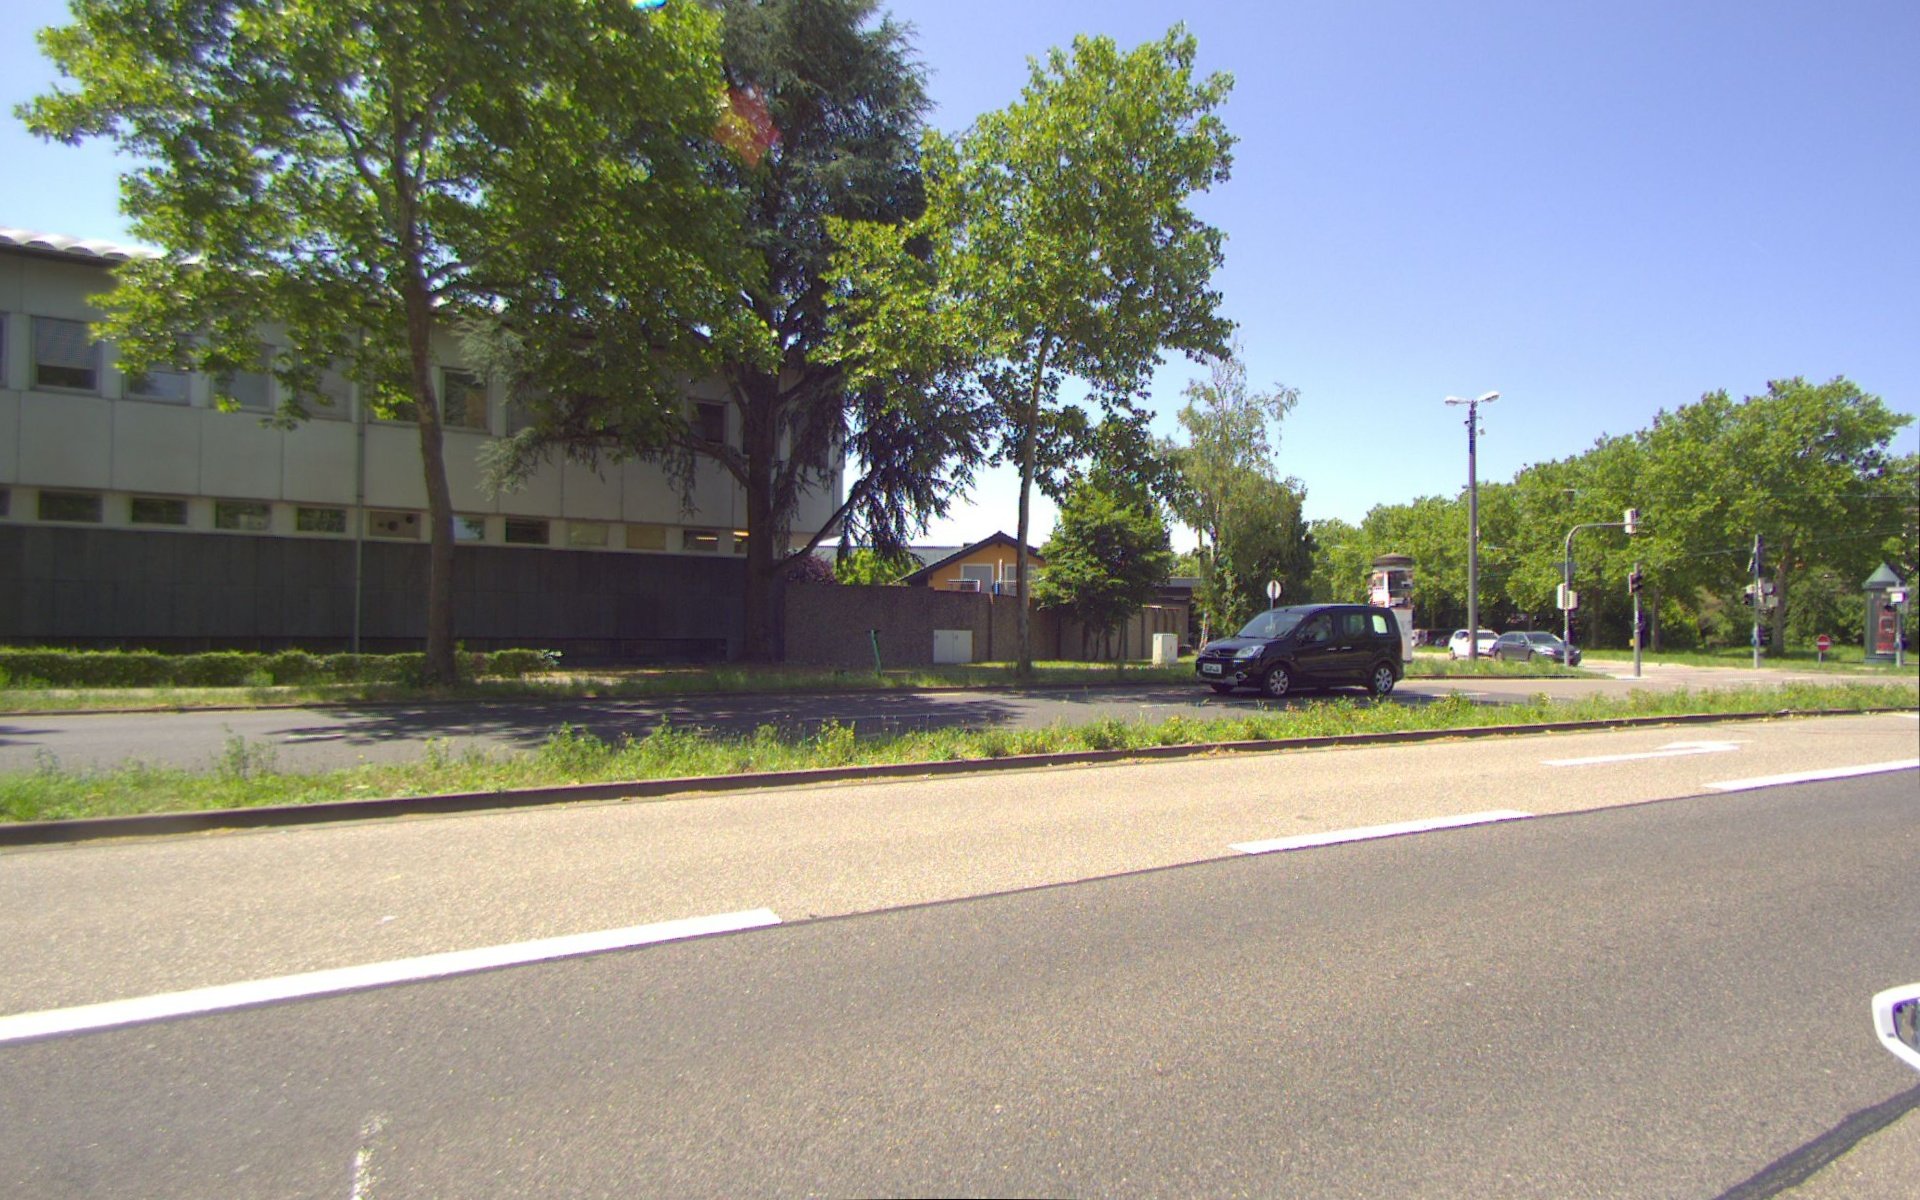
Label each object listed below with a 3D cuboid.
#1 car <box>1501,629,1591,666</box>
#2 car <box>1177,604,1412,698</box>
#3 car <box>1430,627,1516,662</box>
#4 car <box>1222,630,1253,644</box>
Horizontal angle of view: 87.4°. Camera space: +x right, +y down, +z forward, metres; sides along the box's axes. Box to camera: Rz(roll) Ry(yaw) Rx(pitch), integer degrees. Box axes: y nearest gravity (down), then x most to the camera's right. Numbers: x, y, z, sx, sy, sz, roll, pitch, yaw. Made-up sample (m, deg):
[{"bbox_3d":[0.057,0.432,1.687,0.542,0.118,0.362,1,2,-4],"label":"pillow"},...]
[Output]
[{"bbox_3d":[25.378,2.022,43.639,1.729,1.476,3.994,0,-1,2],"label":"car"},{"bbox_3d":[6.668,0.965,19.995,4.385,1.701,1.905,1,-1,-26],"label":"car"},{"bbox_3d":[25.642,2.194,50.421,2.172,1.626,4.463,0,-1,2],"label":"car"},{"bbox_3d":[24.965,3.315,90.428,2.848,1.221,1.176,1,-1,-35],"label":"car"}]
